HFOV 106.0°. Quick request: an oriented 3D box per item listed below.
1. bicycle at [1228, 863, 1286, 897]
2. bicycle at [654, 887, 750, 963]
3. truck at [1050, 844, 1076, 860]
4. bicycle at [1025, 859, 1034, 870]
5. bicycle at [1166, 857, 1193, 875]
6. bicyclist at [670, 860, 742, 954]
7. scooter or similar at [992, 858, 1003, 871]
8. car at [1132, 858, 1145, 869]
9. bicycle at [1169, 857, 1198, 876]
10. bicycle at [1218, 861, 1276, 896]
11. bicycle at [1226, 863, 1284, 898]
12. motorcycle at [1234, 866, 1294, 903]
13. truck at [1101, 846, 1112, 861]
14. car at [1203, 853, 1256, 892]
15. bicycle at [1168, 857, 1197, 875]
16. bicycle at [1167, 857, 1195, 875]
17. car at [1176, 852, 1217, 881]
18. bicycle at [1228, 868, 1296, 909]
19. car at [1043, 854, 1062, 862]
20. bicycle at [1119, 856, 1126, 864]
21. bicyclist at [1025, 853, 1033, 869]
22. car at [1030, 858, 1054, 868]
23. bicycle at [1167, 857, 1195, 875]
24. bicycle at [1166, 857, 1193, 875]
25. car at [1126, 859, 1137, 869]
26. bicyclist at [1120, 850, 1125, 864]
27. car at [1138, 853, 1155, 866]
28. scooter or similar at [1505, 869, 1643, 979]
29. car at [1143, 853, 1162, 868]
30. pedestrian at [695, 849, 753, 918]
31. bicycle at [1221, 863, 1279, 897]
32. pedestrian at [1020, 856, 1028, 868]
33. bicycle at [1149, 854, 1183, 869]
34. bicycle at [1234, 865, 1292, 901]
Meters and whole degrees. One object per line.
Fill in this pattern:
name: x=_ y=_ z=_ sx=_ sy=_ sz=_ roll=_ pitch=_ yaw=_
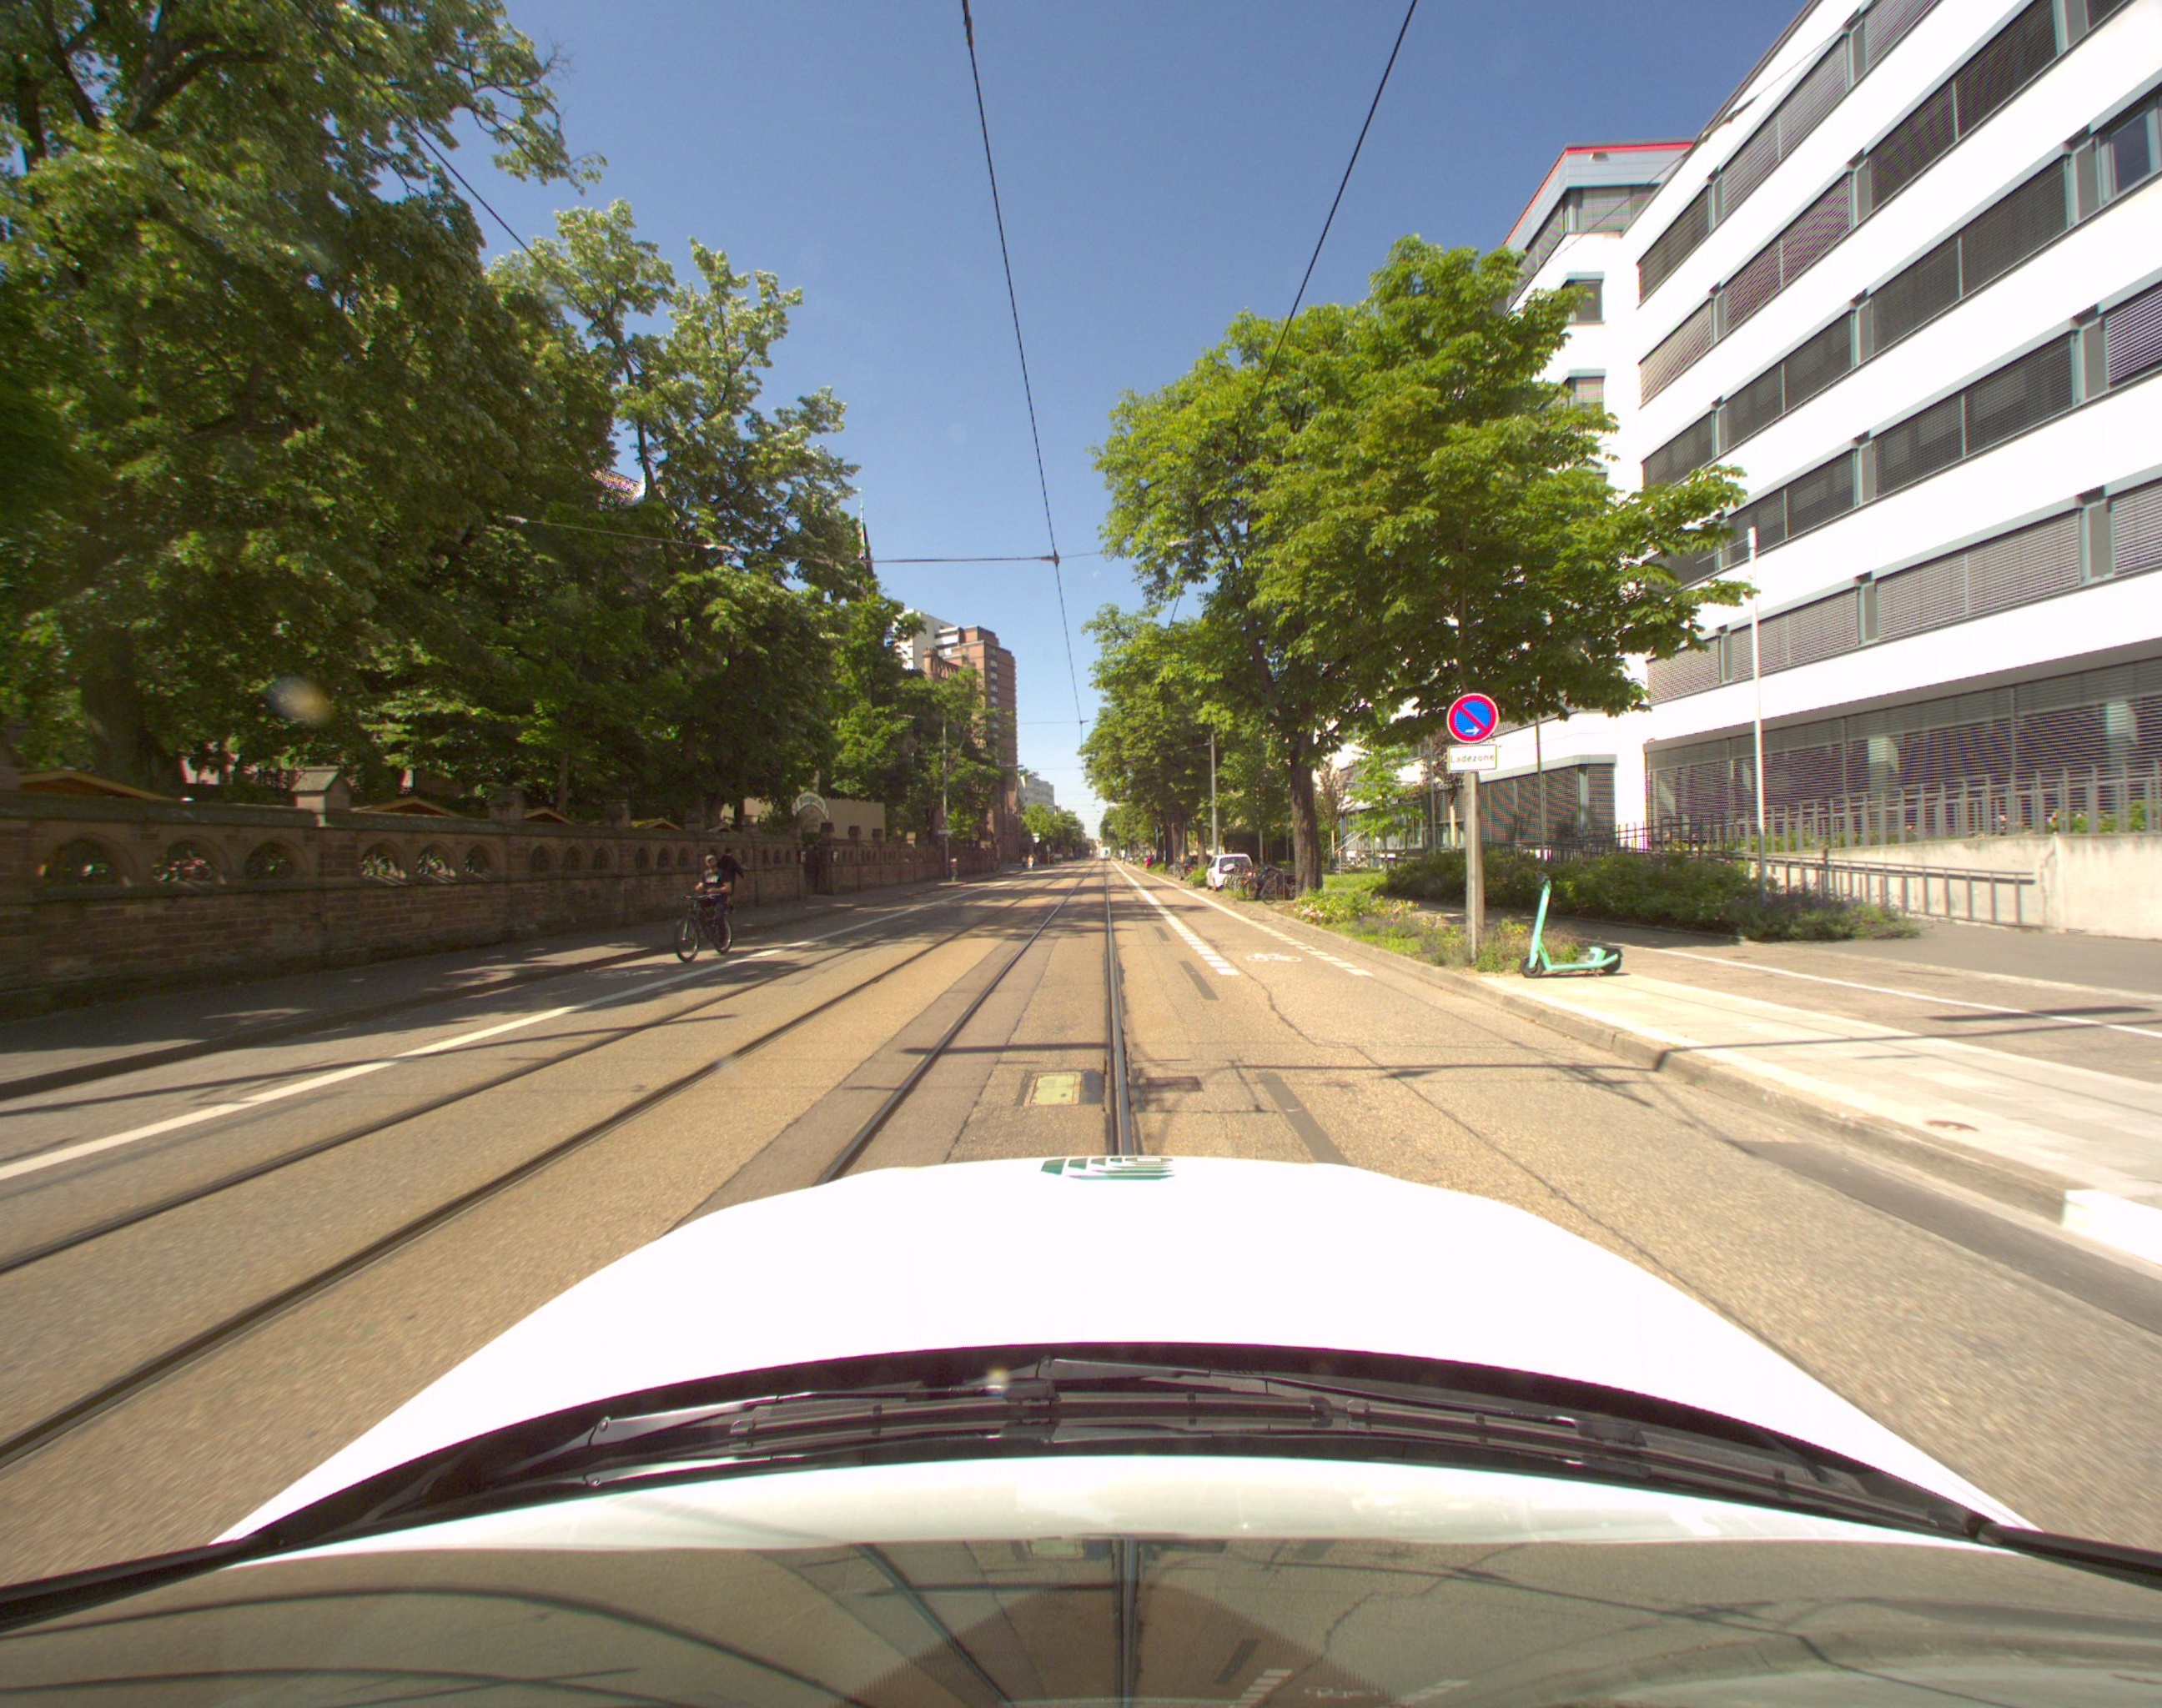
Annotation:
bicycle: x=5.942 y=0.878 z=27.579 sx=1.786 sy=1.086 sz=0.726 roll=-2 pitch=0 yaw=0
bicycle: x=-6.405 y=1.171 z=13.896 sx=0.589 sy=1.105 sz=2.055 roll=-1 pitch=0 yaw=2
truck: x=-4.549 y=-0.523 z=213.940 sx=2.788 sy=3.859 sz=10.056 roll=-2 pitch=-1 yaw=23
bicycle: x=-5.338 y=1.096 z=84.454 sx=0.660 sy=1.154 sz=2.015 roll=-1 pitch=0 yaw=2
bicycle: x=6.600 y=0.804 z=54.542 sx=1.718 sy=1.086 sz=0.478 roll=-2 pitch=-1 yaw=0
bicyclist: x=-6.402 y=0.878 z=13.949 sx=0.737 sy=1.531 sz=0.948 roll=-1 pitch=-1 yaw=2
scooter or similar: x=-7.878 y=0.981 z=76.884 sx=0.329 sy=1.129 sz=1.194 roll=-2 pitch=-1 yaw=40
car: x=8.170 y=1.290 z=115.935 sx=1.624 sy=1.472 sz=4.115 roll=-2 pitch=0 yaw=2
bicycle: x=6.405 y=0.785 z=51.038 sx=1.718 sy=1.086 sz=0.629 roll=-2 pitch=0 yaw=0
bicycle: x=5.979 y=0.887 z=29.433 sx=1.897 sy=1.169 sz=0.819 roll=-2 pitch=0 yaw=0
bicycle: x=5.981 y=0.917 z=28.108 sx=1.842 sy=1.132 sz=0.680 roll=-2 pitch=0 yaw=0
motorcycle: x=5.670 y=0.938 z=25.293 sx=1.718 sy=1.086 sz=0.658 roll=-2 pitch=0 yaw=0
truck: x=5.513 y=-0.066 z=175.397 sx=2.394 sy=3.109 sz=6.039 roll=-1 pitch=0 yaw=1
car: x=6.000 y=0.713 z=33.194 sx=1.623 sy=1.472 sz=3.633 roll=-1 pitch=-1 yaw=3
bicycle: x=6.453 y=0.783 z=51.695 sx=1.718 sy=1.086 sz=0.697 roll=-2 pitch=0 yaw=0
bicycle: x=6.470 y=0.776 z=52.928 sx=1.718 sy=1.086 sz=0.589 roll=-2 pitch=0 yaw=0
car: x=6.385 y=0.672 z=45.431 sx=1.625 sy=1.483 sz=4.272 roll=-1 pitch=0 yaw=0
bicycle: x=5.120 y=0.962 z=23.082 sx=1.718 sy=1.086 sz=0.789 roll=-2 pitch=0 yaw=0
car: x=-6.478 y=0.980 z=185.139 sx=4.011 sy=1.750 sz=1.981 roll=-1 pitch=-1 yaw=-29
bicycle: x=5.642 y=0.846 z=111.094 sx=0.852 sy=1.110 sz=2.140 roll=-1 pitch=0 yaw=1
bicyclist: x=-5.360 y=0.709 z=84.394 sx=0.722 sy=1.698 sz=1.147 roll=-1 pitch=0 yaw=1
car: x=-7.299 y=1.643 z=152.076 sx=4.017 sy=1.810 sz=1.869 roll=-1 pitch=-1 yaw=-36
bicycle: x=6.428 y=0.786 z=52.339 sx=1.718 sy=1.086 sz=0.570 roll=-2 pitch=0 yaw=0
bicycle: x=6.513 y=0.800 z=53.965 sx=1.718 sy=1.086 sz=0.615 roll=-2 pitch=0 yaw=0
car: x=8.356 y=1.621 z=133.828 sx=1.624 sy=1.472 sz=4.115 roll=-2 pitch=0 yaw=2
bicyclist: x=5.680 y=0.382 z=111.198 sx=0.634 sy=1.871 sz=1.024 roll=-2 pitch=0 yaw=1
car: x=7.590 y=0.640 z=94.256 sx=1.625 sy=1.355 sz=3.900 roll=-2 pitch=0 yaw=0
scooter or similar: x=5.545 y=0.771 z=9.211 sx=1.121 sy=1.166 sz=0.676 roll=-2 pitch=0 yaw=4
car: x=7.407 y=0.642 z=84.397 sx=1.625 sy=1.472 sz=3.718 roll=-1 pitch=0 yaw=0
pedestrian: x=-9.855 y=0.794 z=22.531 sx=0.973 sy=1.816 sz=1.185 roll=2 pitch=0 yaw=2
bicycle: x=5.956 y=0.905 z=28.786 sx=1.866 sy=1.141 sz=0.686 roll=-2 pitch=0 yaw=0
pedestrian: x=-7.131 y=1.007 z=102.173 sx=0.882 sy=1.512 sz=1.472 roll=-1 pitch=-1 yaw=-7
bicycle: x=7.844 y=0.692 z=75.282 sx=3.014 sy=1.332 sz=1.042 roll=-2 pitch=-1 yaw=4
bicycle: x=5.954 y=0.945 z=26.692 sx=1.718 sy=1.086 sz=0.639 roll=-2 pitch=0 yaw=0
